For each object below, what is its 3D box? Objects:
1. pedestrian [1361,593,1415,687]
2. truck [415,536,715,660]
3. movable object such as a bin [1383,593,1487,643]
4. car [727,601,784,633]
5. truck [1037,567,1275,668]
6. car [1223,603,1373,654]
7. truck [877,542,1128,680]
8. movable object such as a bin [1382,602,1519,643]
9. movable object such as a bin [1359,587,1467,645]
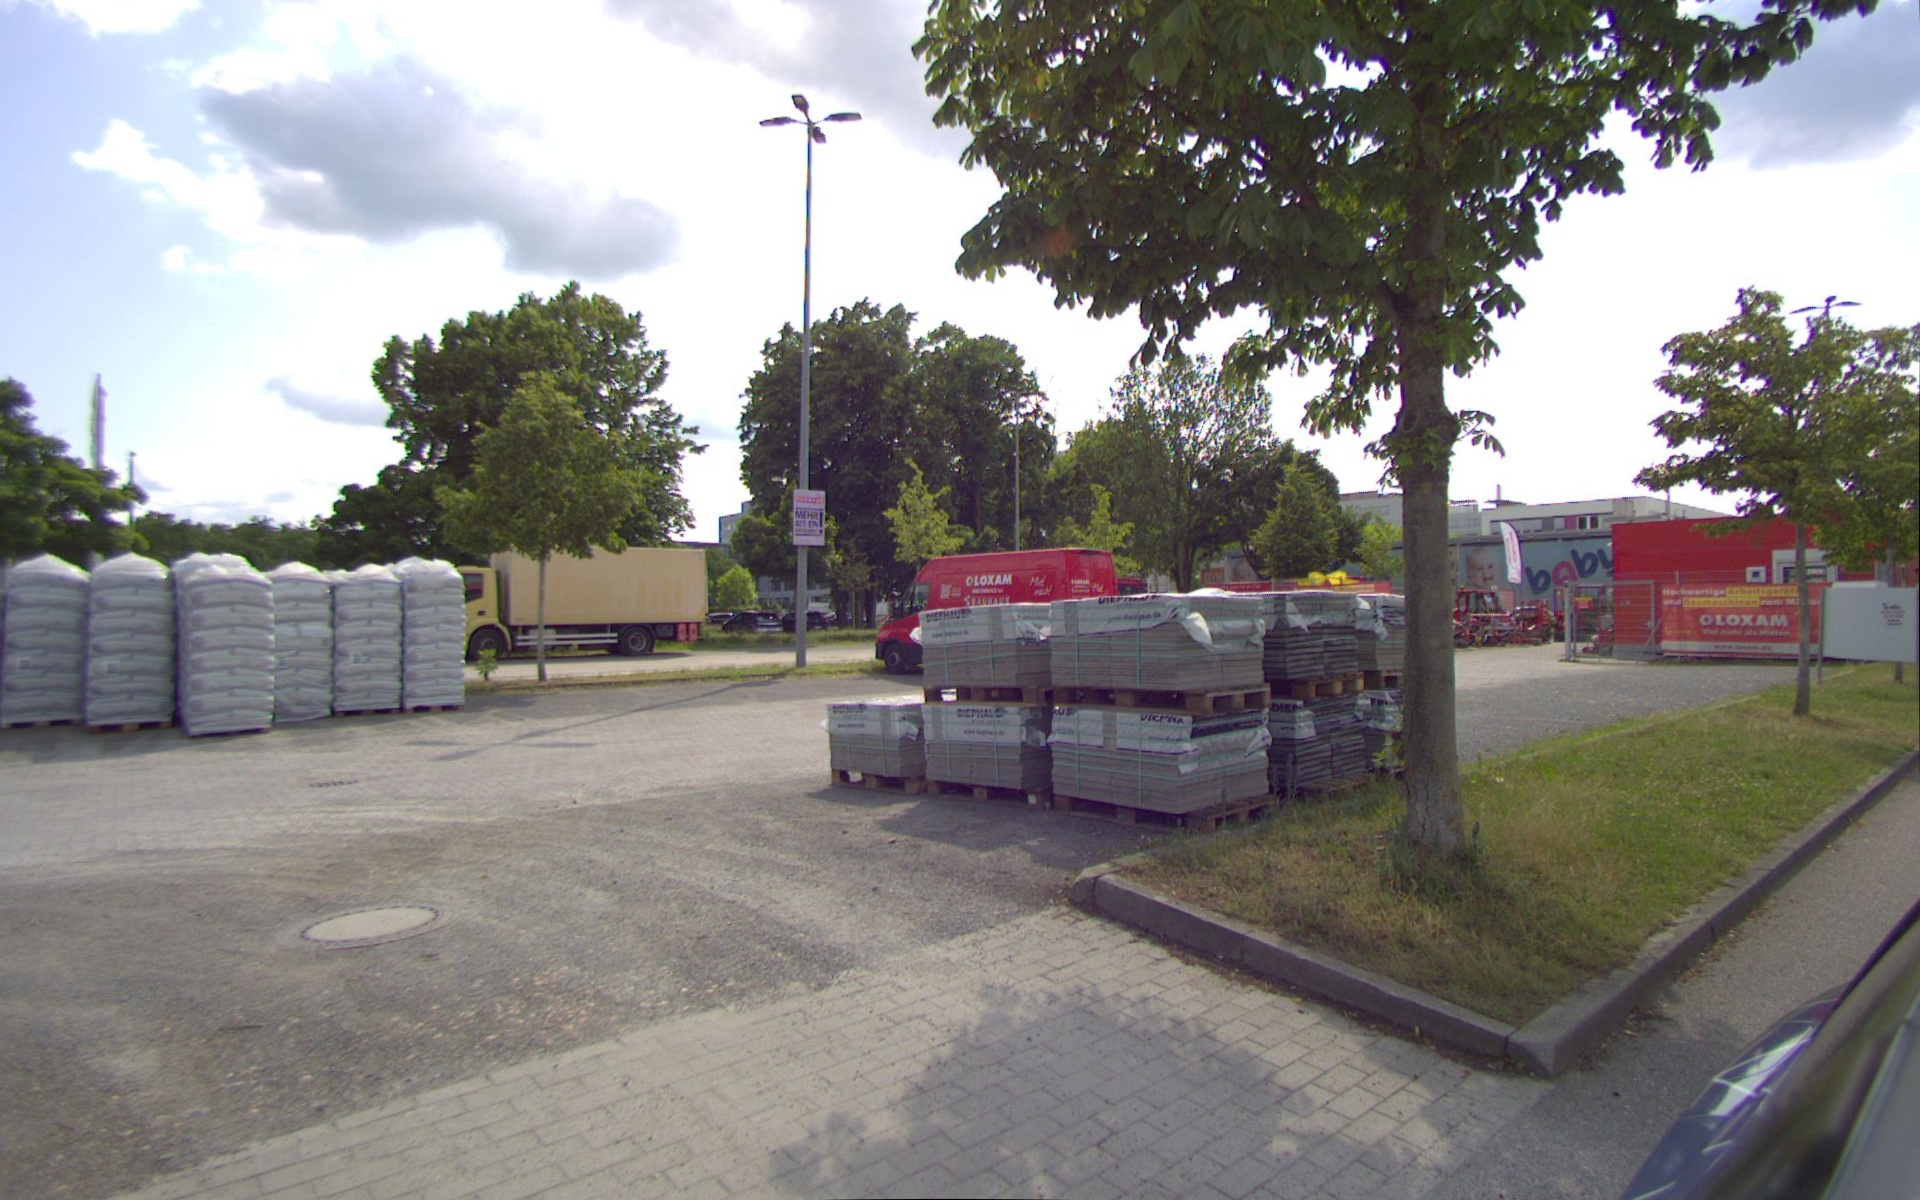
[{"bbox_3d":[8.085,0.726,19.101,0.863,1.713,0.600,-1,0,-39],"label":"pedestrian"},{"bbox_3d":[-12.860,-0.055,33.611,8.873,3.644,2.727,0,0,-39],"label":"truck"},{"bbox_3d":[16.611,0.625,35.474,1.364,1.691,3.008,1,-1,-40],"label":"movable object such as a bin"},{"bbox_3d":[-11.481,0.939,56.656,1.868,1.677,3.486,0,0,-37],"label":"car"},{"bbox_3d":[4.814,0.398,25.768,2.136,2.284,5.850,0,0,-43],"label":"truck"},{"bbox_3d":[10.320,0.821,31.101,4.133,1.432,1.592,0,0,45],"label":"car"},{"bbox_3d":[0.745,0.218,21.424,2.081,2.547,5.432,1,-1,-43],"label":"truck"},{"bbox_3d":[18.069,0.775,37.376,3.026,1.396,3.585,0,0,-37],"label":"movable object such as a bin"},{"bbox_3d":[15.212,0.529,34.066,1.364,1.867,3.008,1,-1,-40],"label":"movable object such as a bin"}]
